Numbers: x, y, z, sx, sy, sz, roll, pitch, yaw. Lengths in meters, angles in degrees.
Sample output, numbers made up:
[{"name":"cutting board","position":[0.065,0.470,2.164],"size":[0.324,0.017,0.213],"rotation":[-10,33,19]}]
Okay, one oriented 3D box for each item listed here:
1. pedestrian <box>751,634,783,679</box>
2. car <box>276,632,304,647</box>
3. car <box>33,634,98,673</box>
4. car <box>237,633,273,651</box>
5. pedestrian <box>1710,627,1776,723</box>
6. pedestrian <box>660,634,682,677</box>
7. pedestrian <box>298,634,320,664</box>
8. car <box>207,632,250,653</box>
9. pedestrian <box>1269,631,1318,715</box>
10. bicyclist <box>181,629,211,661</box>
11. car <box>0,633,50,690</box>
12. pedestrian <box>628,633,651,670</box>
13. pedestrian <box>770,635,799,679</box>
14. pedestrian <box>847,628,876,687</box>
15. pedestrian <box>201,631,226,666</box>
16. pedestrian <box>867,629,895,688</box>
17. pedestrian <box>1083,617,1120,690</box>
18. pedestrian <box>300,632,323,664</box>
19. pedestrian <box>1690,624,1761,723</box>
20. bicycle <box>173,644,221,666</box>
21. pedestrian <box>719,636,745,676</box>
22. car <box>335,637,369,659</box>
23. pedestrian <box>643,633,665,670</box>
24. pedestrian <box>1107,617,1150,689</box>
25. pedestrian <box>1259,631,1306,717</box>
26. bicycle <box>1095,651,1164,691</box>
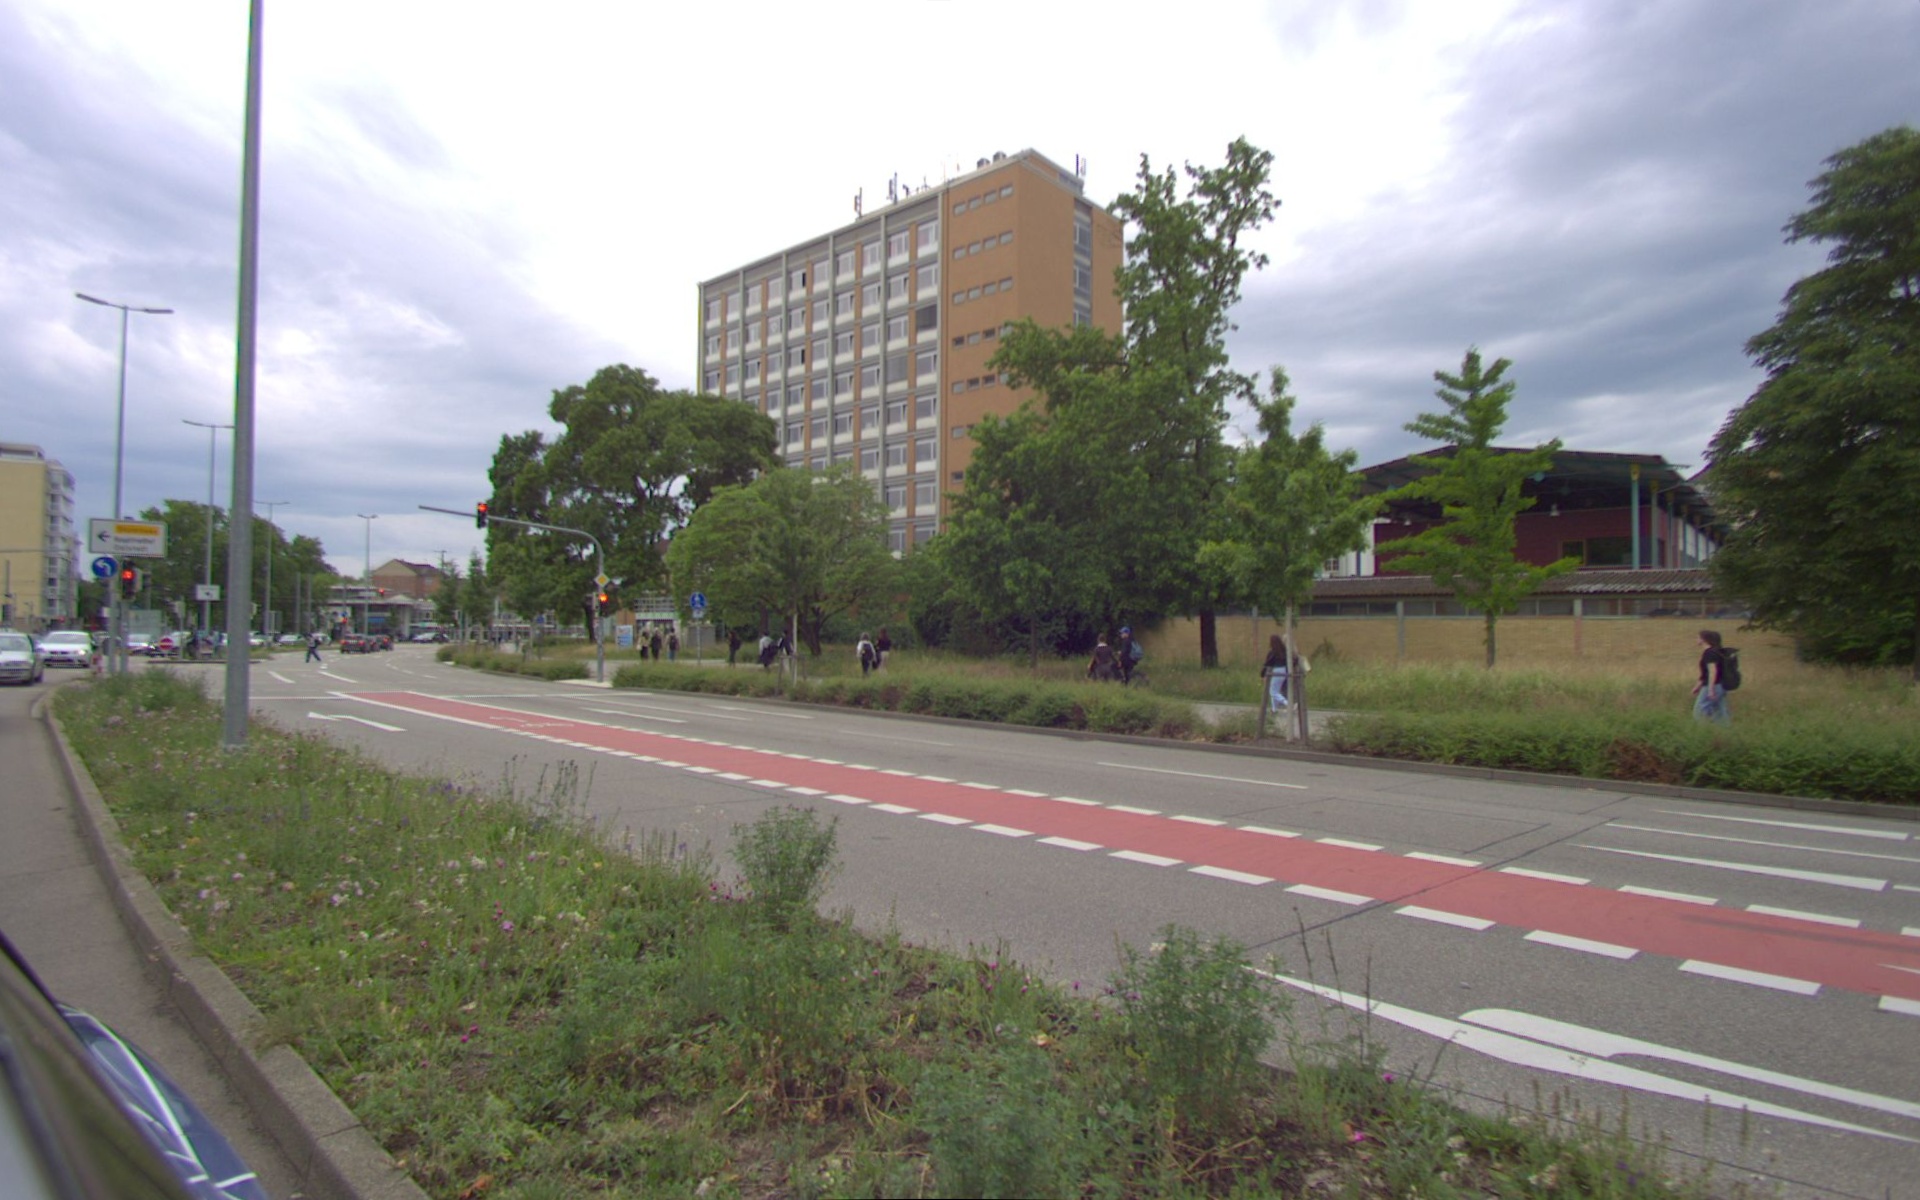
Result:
[{"name":"pedestrian","position":[-6.468,1.895,33.880],"size":[0.719,1.491,0.814],"rotation":[4,-5,-41]},{"name":"car","position":[-76.767,4.575,115.991],"size":[1.775,1.608,3.771],"rotation":[2,-4,-20]},{"name":"car","position":[-35.860,2.100,40.646],"size":[1.759,1.474,3.878],"rotation":[1,-2,-39]},{"name":"car","position":[-73.422,4.397,105.515],"size":[1.808,1.777,3.922],"rotation":[2,-4,-15]},{"name":"pedestrian","position":[11.514,1.094,14.877],"size":[0.681,1.373,0.637],"rotation":[-2,-5,43]},{"name":"pedestrian","position":[-12.341,2.380,43.235],"size":[0.629,1.815,0.763],"rotation":[2,-3,-41]},{"name":"pedestrian","position":[-36.302,2.740,56.416],"size":[0.706,1.680,0.768],"rotation":[-2,-4,37]},{"name":"car","position":[-68.743,4.045,95.158],"size":[1.966,1.896,4.011],"rotation":[2,-4,-16]},{"name":"pedestrian","position":[6.861,1.498,20.817],"size":[0.767,1.685,0.699],"rotation":[-2,-5,40]},{"name":"bicyclist","position":[-42.070,2.470,55.749],"size":[1.174,1.749,0.807],"rotation":[4,-5,-42]},{"name":"car","position":[-25.795,1.630,27.181],"size":[1.700,1.425,4.254],"rotation":[0,-2,-38]},{"name":"pedestrian","position":[-14.758,2.359,46.530],"size":[0.698,1.684,0.944],"rotation":[1,-3,-41]},{"name":"pedestrian","position":[-5.977,1.937,34.408],"size":[0.627,1.491,0.763],"rotation":[4,-5,-41]},{"name":"pedestrian","position":[-2.899,1.696,29.754],"size":[0.613,1.708,0.749],"rotation":[2,-4,-23]},{"name":"pedestrian","position":[-39.584,2.592,53.662],"size":[0.904,1.818,0.542],"rotation":[3,-4,-28]},{"name":"pedestrian","position":[-2.351,1.743,30.215],"size":[0.570,1.725,0.764],"rotation":[3,-4,-24]},{"name":"pedestrian","position":[3.230,1.227,23.040],"size":[0.567,1.621,0.618],"rotation":[3,-4,-28]},{"name":"pedestrian","position":[-37.646,2.780,58.745],"size":[0.736,1.818,0.762],"rotation":[-1,-4,24]},{"name":"pedestrian","position":[10.962,1.042,14.492],"size":[0.711,1.368,0.637],"rotation":[-2,-5,44]},{"name":"bicycle","position":[-42.039,3.045,55.768],"size":[1.976,1.151,0.807],"rotation":[4,-5,-43]},{"name":"pedestrian","position":[-9.237,2.264,40.968],"size":[0.825,1.625,0.630],"rotation":[-2,-2,24]},{"name":"car","position":[-51.349,4.032,85.521],"size":[1.785,1.680,3.962],"rotation":[2,-2,-22]},{"name":"pedestrian","position":[-14.210,2.391,47.008],"size":[0.698,1.683,0.891],"rotation":[0,-2,-41]},{"name":"pedestrian","position":[3.915,1.240,23.508],"size":[0.651,1.644,0.766],"rotation":[3,-4,-29]},{"name":"pedestrian","position":[6.461,1.471,20.286],"size":[0.720,1.673,0.579],"rotation":[-2,-5,40]},{"name":"bicycle","position":[3.909,1.631,23.485],"size":[0.651,0.894,1.720],"rotation":[3,-4,-29]}]
